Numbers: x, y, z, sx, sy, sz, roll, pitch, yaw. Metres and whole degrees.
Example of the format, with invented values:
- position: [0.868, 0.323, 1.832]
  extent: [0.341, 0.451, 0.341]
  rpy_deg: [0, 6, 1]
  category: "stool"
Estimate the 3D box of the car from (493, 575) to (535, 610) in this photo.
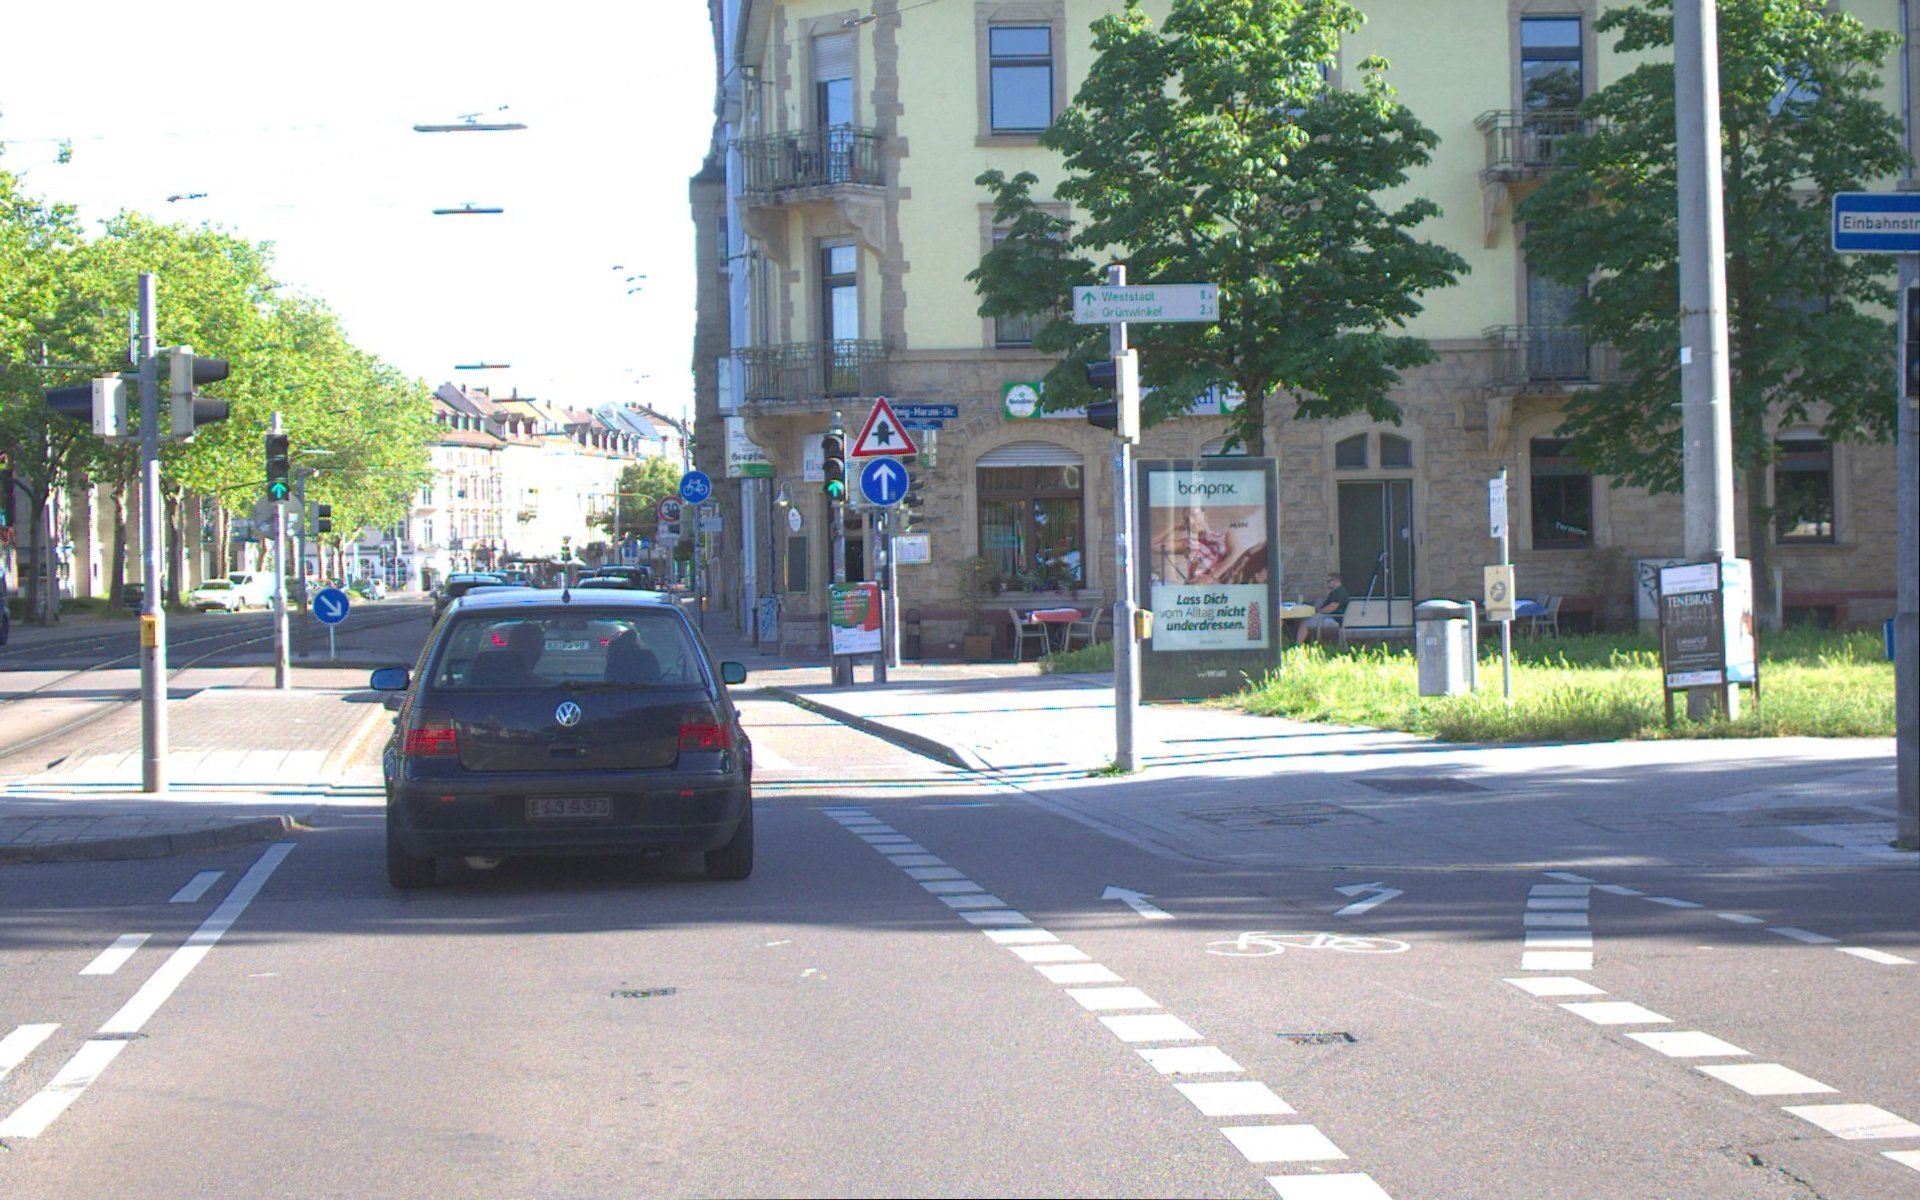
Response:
- position: [-19.504, -0.343, 150.429]
  extent: [1.636, 1.467, 3.730]
  rpy_deg: [-1, 1, -5]
  category: "car"

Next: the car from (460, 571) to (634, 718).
- position: [-4.610, 0.456, 38.792]
  extent: [1.748, 1.532, 3.892]
  rpy_deg: [-1, 1, -4]
  category: "car"

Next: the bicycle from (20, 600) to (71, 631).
- position: [-38.886, 0.665, 146.131]
  extent: [2.008, 1.274, 0.664]
  rpy_deg: [0, 0, -4]
  category: "bicycle"

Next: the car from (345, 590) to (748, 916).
- position: [-2.044, 0.668, 17.246]
  extent: [1.748, 1.370, 4.001]
  rpy_deg: [-1, 1, -6]
  category: "car"

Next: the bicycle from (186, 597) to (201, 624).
- position: [-35.383, 0.494, 158.701]
  extent: [0.581, 1.205, 1.654]
  rpy_deg: [1, 1, -11]
  category: "bicycle"

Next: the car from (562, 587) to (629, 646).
- position: [-9.306, 0.401, 87.985]
  extent: [1.655, 1.477, 4.001]
  rpy_deg: [0, 0, -5]
  category: "car"

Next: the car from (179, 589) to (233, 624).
- position: [-36.058, 0.300, 164.399]
  extent: [2.011, 1.567, 4.694]
  rpy_deg: [1, 1, -6]
  category: "car"

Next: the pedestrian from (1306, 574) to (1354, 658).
- position: [6.073, 0.259, 56.434]
  extent: [0.638, 1.355, 0.702]
  rpy_deg: [1, 0, -4]
  category: "pedestrian"

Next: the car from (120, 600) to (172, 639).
- position: [-33.199, 0.811, 140.227]
  extent: [1.507, 1.449, 3.463]
  rpy_deg: [-2, -1, -5]
  category: "car"

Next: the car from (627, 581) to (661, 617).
- position: [-16.713, -0.055, 181.881]
  extent: [1.758, 1.831, 3.548]
  rpy_deg: [1, 1, -5]
  category: "car"
